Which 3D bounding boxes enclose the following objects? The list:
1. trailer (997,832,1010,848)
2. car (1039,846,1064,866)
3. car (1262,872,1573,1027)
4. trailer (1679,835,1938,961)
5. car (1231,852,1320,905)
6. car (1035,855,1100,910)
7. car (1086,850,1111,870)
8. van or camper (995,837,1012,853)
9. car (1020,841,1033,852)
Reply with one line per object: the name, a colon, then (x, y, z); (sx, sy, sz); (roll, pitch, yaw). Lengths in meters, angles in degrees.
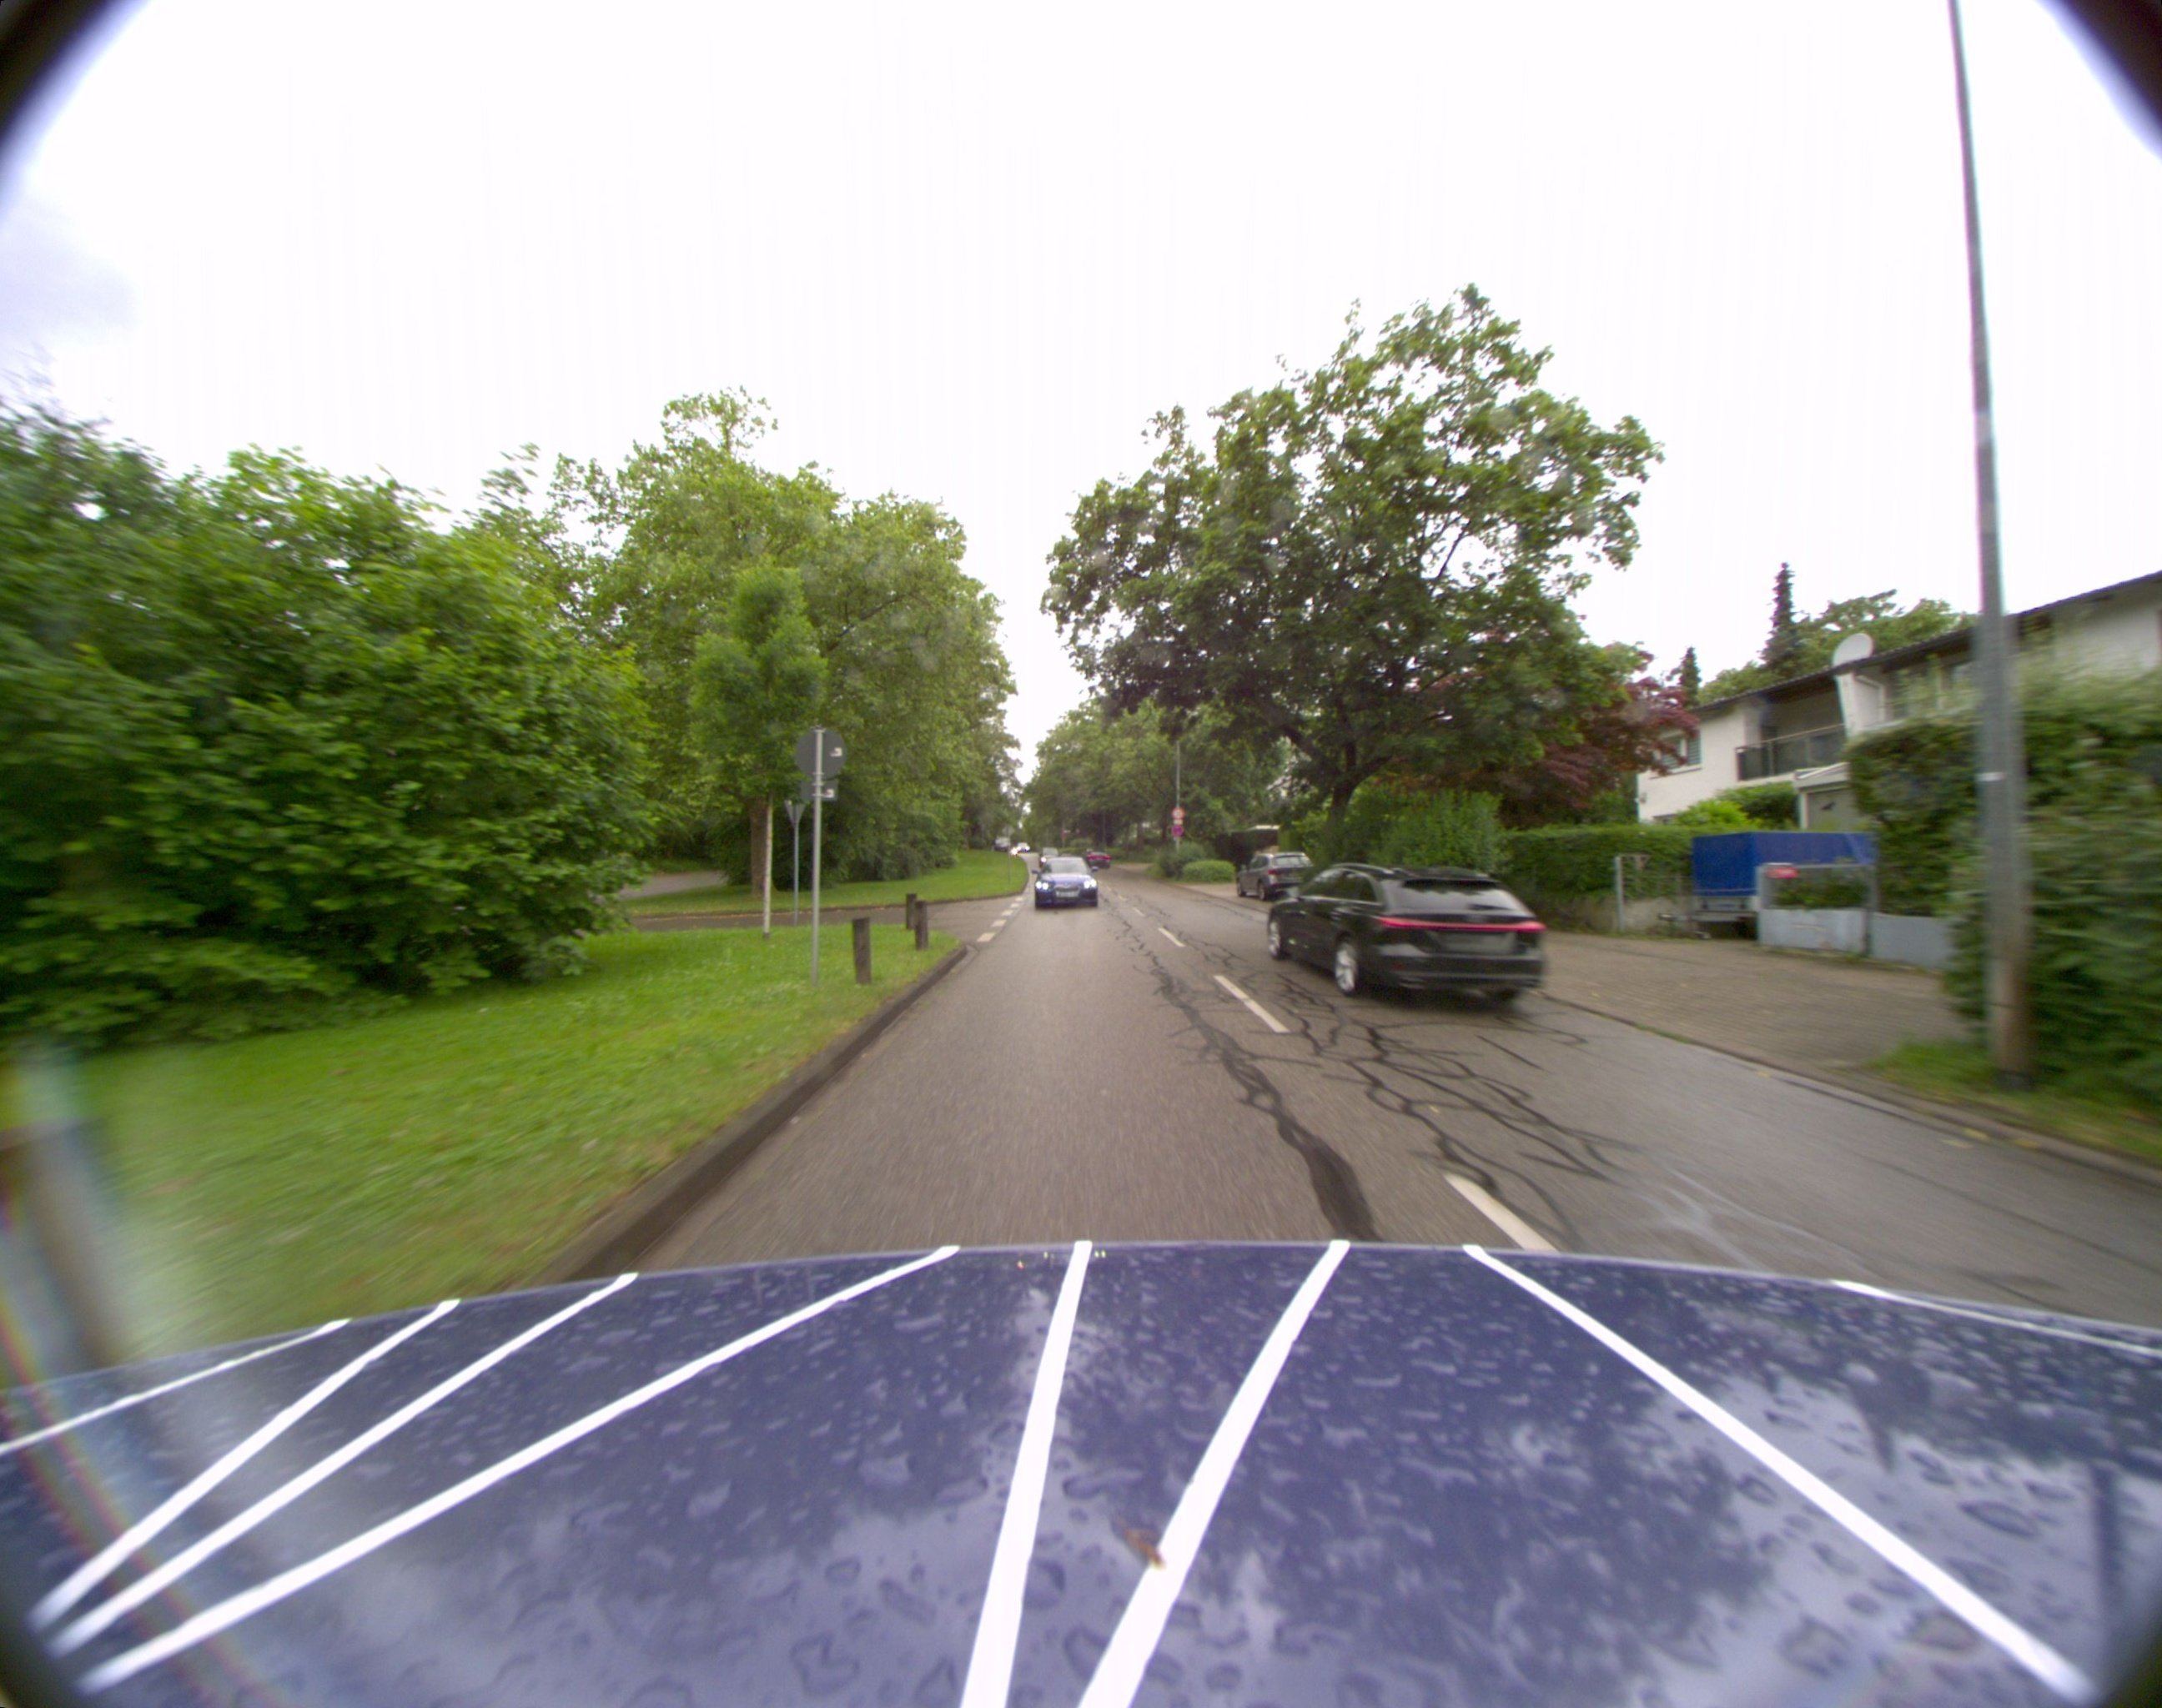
trailer: (-9.959, -1.809, 97.798); (1.701, 2.042, 3.948); (0, 1, -6)
car: (-2.324, 0.185, 58.765); (1.797, 1.458, 4.509); (0, -2, -4)
car: (3.621, 0.932, 9.159); (1.759, 1.355, 4.325); (2, -1, -1)
trailer: (12.227, 0.732, 12.863); (3.127, 1.788, 1.425); (4, -1, -6)
car: (6.476, 0.745, 25.782); (1.668, 1.533, 4.282); (-3, 1, -3)
car: (-0.354, 0.817, 23.736); (1.796, 1.459, 4.509); (-1, 1, 1)
car: (1.304, 0.405, 58.649); (1.694, 1.388, 4.489); (0, 2, -2)
van or camper: (-9.439, -1.124, 92.892); (2.000, 1.858, 5.660); (1, 1, -6)
car: (-8.315, -1.139, 116.311); (1.678, 1.542, 3.833); (1, 0, 2)
